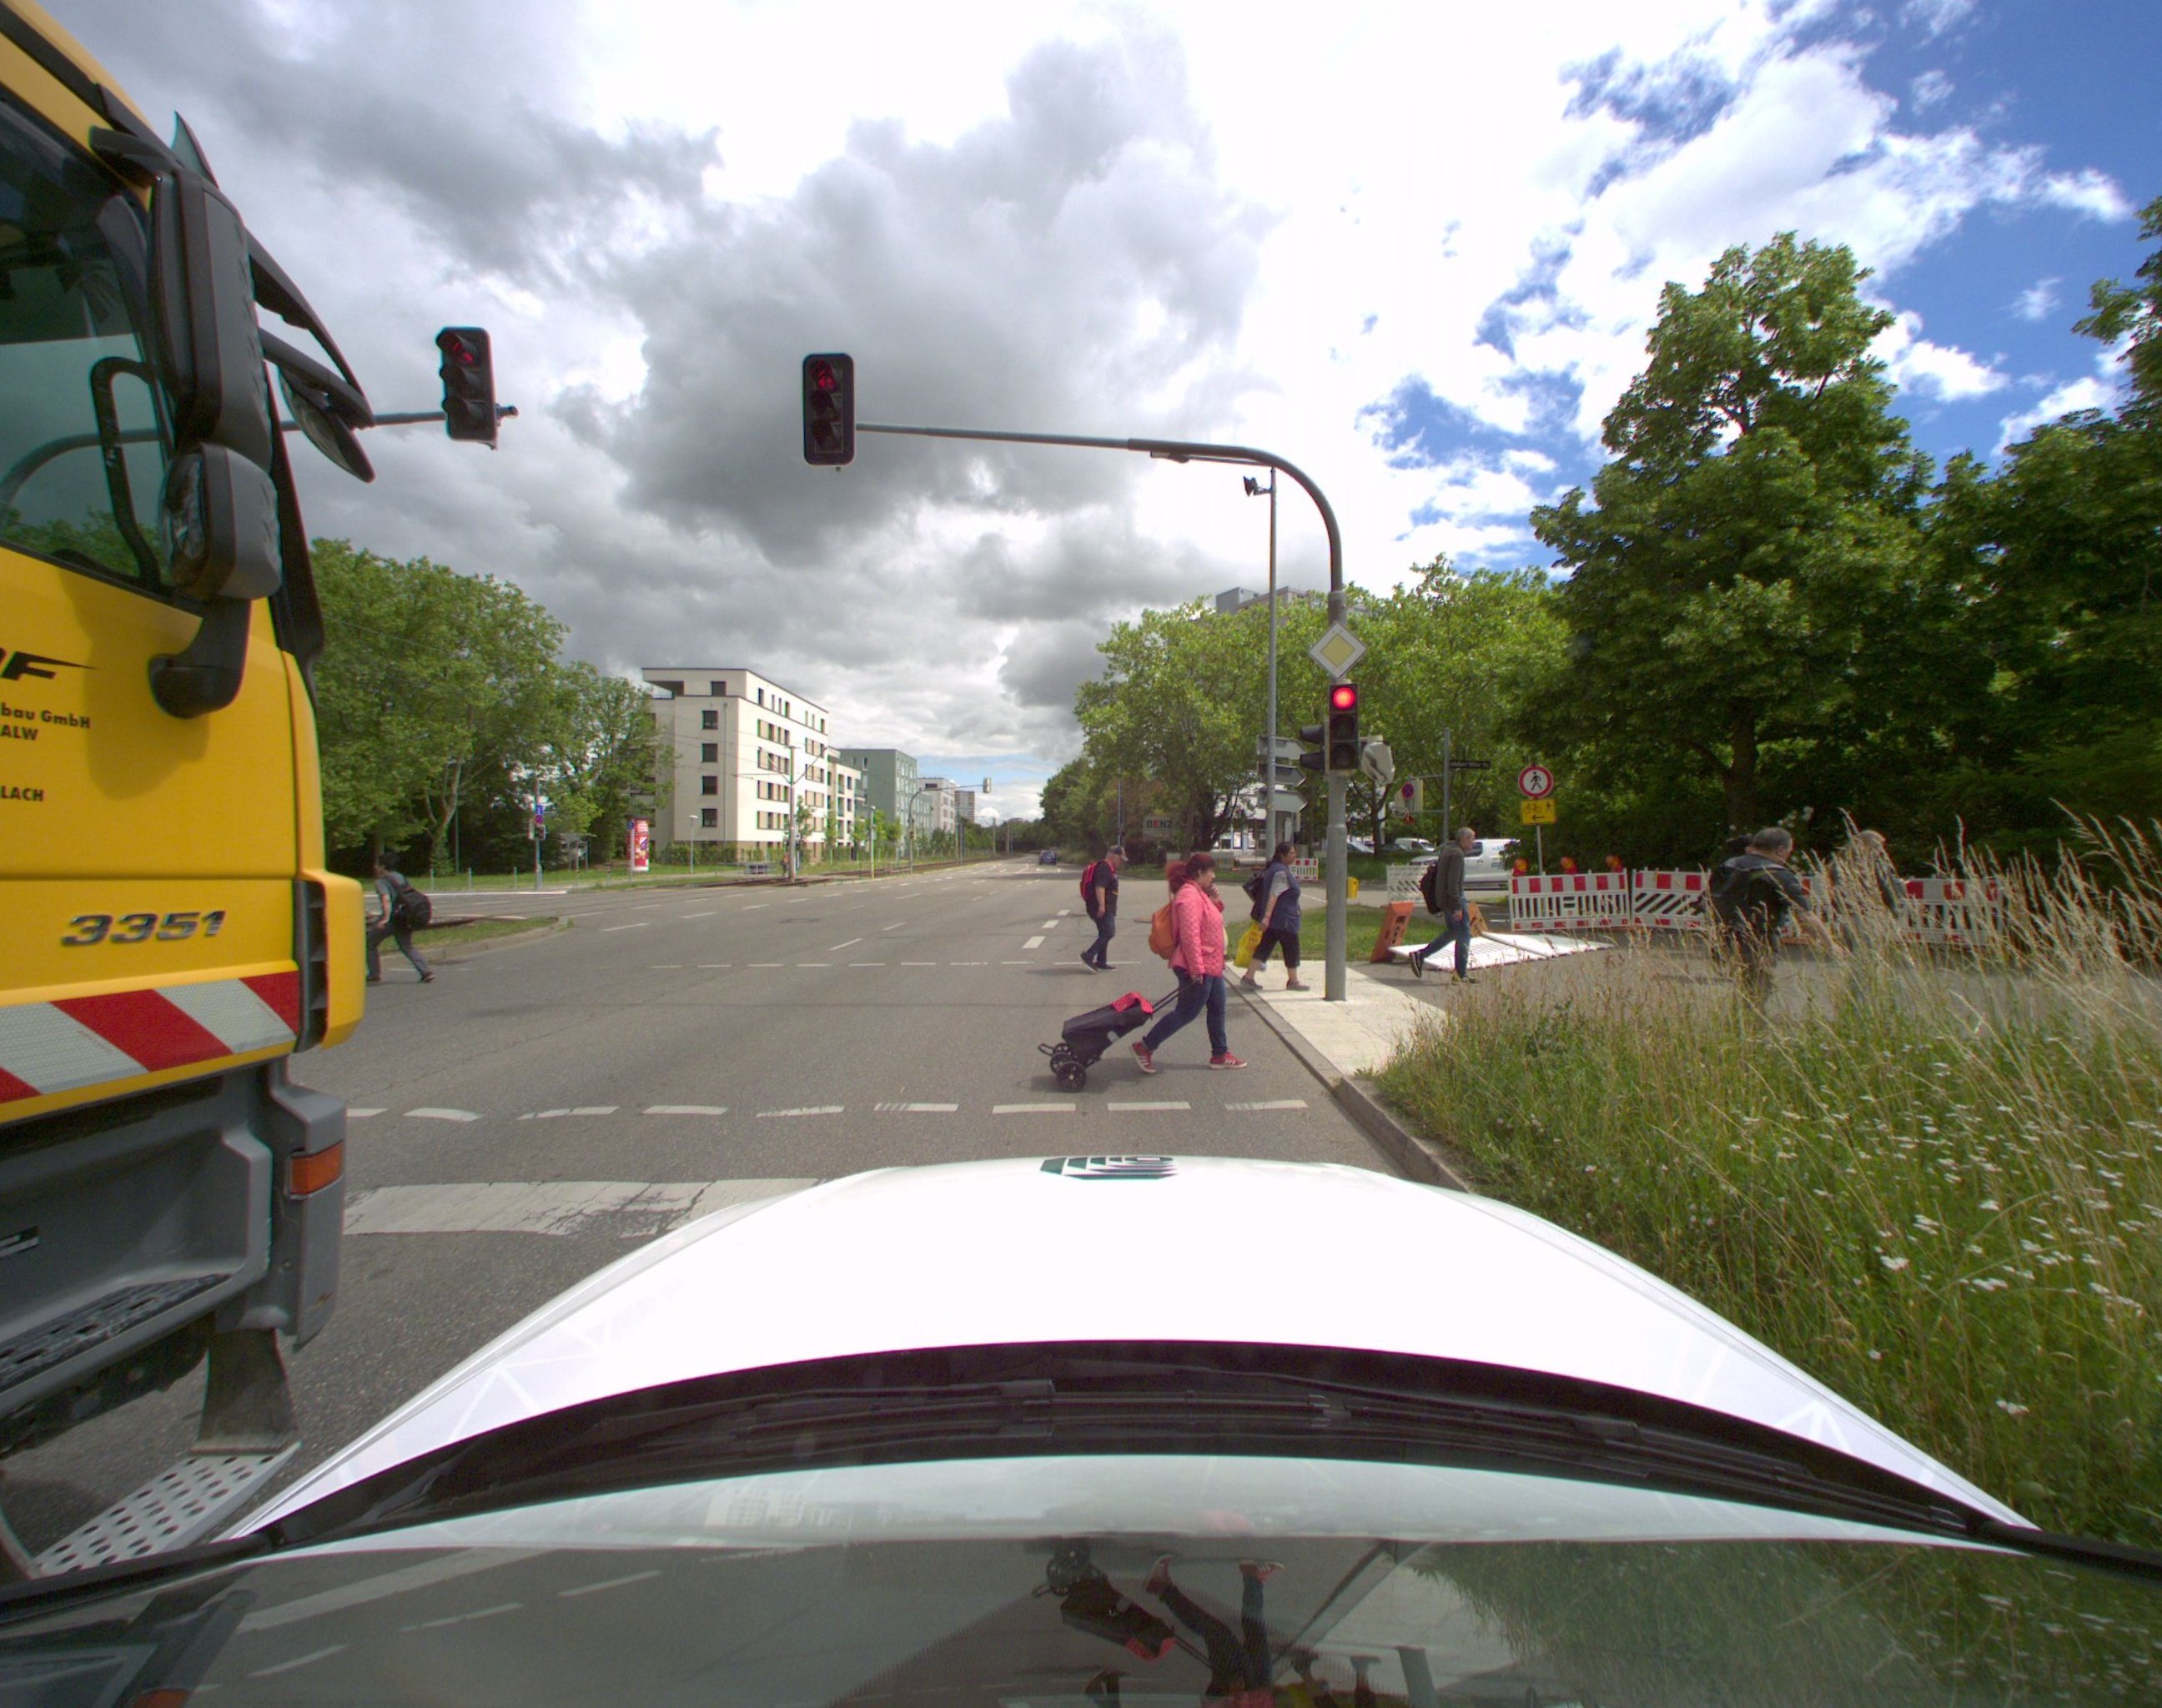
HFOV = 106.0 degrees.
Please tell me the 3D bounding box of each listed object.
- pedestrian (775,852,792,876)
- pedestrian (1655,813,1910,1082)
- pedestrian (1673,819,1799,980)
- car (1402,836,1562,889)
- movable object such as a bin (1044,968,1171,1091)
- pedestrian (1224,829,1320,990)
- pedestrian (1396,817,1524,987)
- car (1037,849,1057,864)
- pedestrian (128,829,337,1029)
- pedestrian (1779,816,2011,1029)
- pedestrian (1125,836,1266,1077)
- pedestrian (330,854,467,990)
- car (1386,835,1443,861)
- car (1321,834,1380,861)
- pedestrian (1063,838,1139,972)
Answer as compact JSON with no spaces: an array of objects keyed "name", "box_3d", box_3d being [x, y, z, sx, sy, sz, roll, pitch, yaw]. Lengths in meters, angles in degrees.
[{"name":"pedestrian","box_3d":[-18.925,0.641,51.769,0.827,1.516,0.636,-1,0,1]},{"name":"pedestrian","box_3d":[4.640,0.577,5.469,0.955,1.648,0.881,-1,0,2]},{"name":"pedestrian","box_3d":[7.410,0.490,9.259,0.778,1.742,0.829,-1,0,4]},{"name":"car","box_3d":[14.924,0.298,30.450,5.063,1.874,1.947,-1,0,-2]},{"name":"movable object such as a bin","box_3d":[0.180,1.163,5.527,0.792,0.662,0.778,-1,0,2]},{"name":"pedestrian","box_3d":[1.994,0.553,8.634,0.907,1.607,0.931,-1,0,8]},{"name":"pedestrian","box_3d":[4.163,0.505,9.028,0.998,1.773,0.930,-1,0,2]},{"name":"car","box_3d":[-3.610,0.276,85.225,1.978,1.486,4.485,-1,0,-4]},{"name":"pedestrian","box_3d":[-8.090,0.667,7.839,1.010,1.774,0.944,-1,0,-12]},{"name":"pedestrian","box_3d":[6.738,0.532,6.815,1.015,1.648,0.931,-1,0,6]},{"name":"pedestrian","box_3d":[0.758,0.661,5.636,0.877,1.554,0.747,-1,0,2]},{"name":"pedestrian","box_3d":[-8.234,0.782,9.869,0.946,1.552,0.841,-1,0,-9]},{"name":"car","box_3d":[27.317,-0.499,66.861,2.006,2.013,3.962,-1,0,-29]},{"name":"car","box_3d":[20.572,-0.487,62.246,2.006,2.013,3.962,-1,0,-29]},{"name":"pedestrian","box_3d":[0.262,0.610,10.227,0.889,1.596,0.909,-1,0,2]}]
